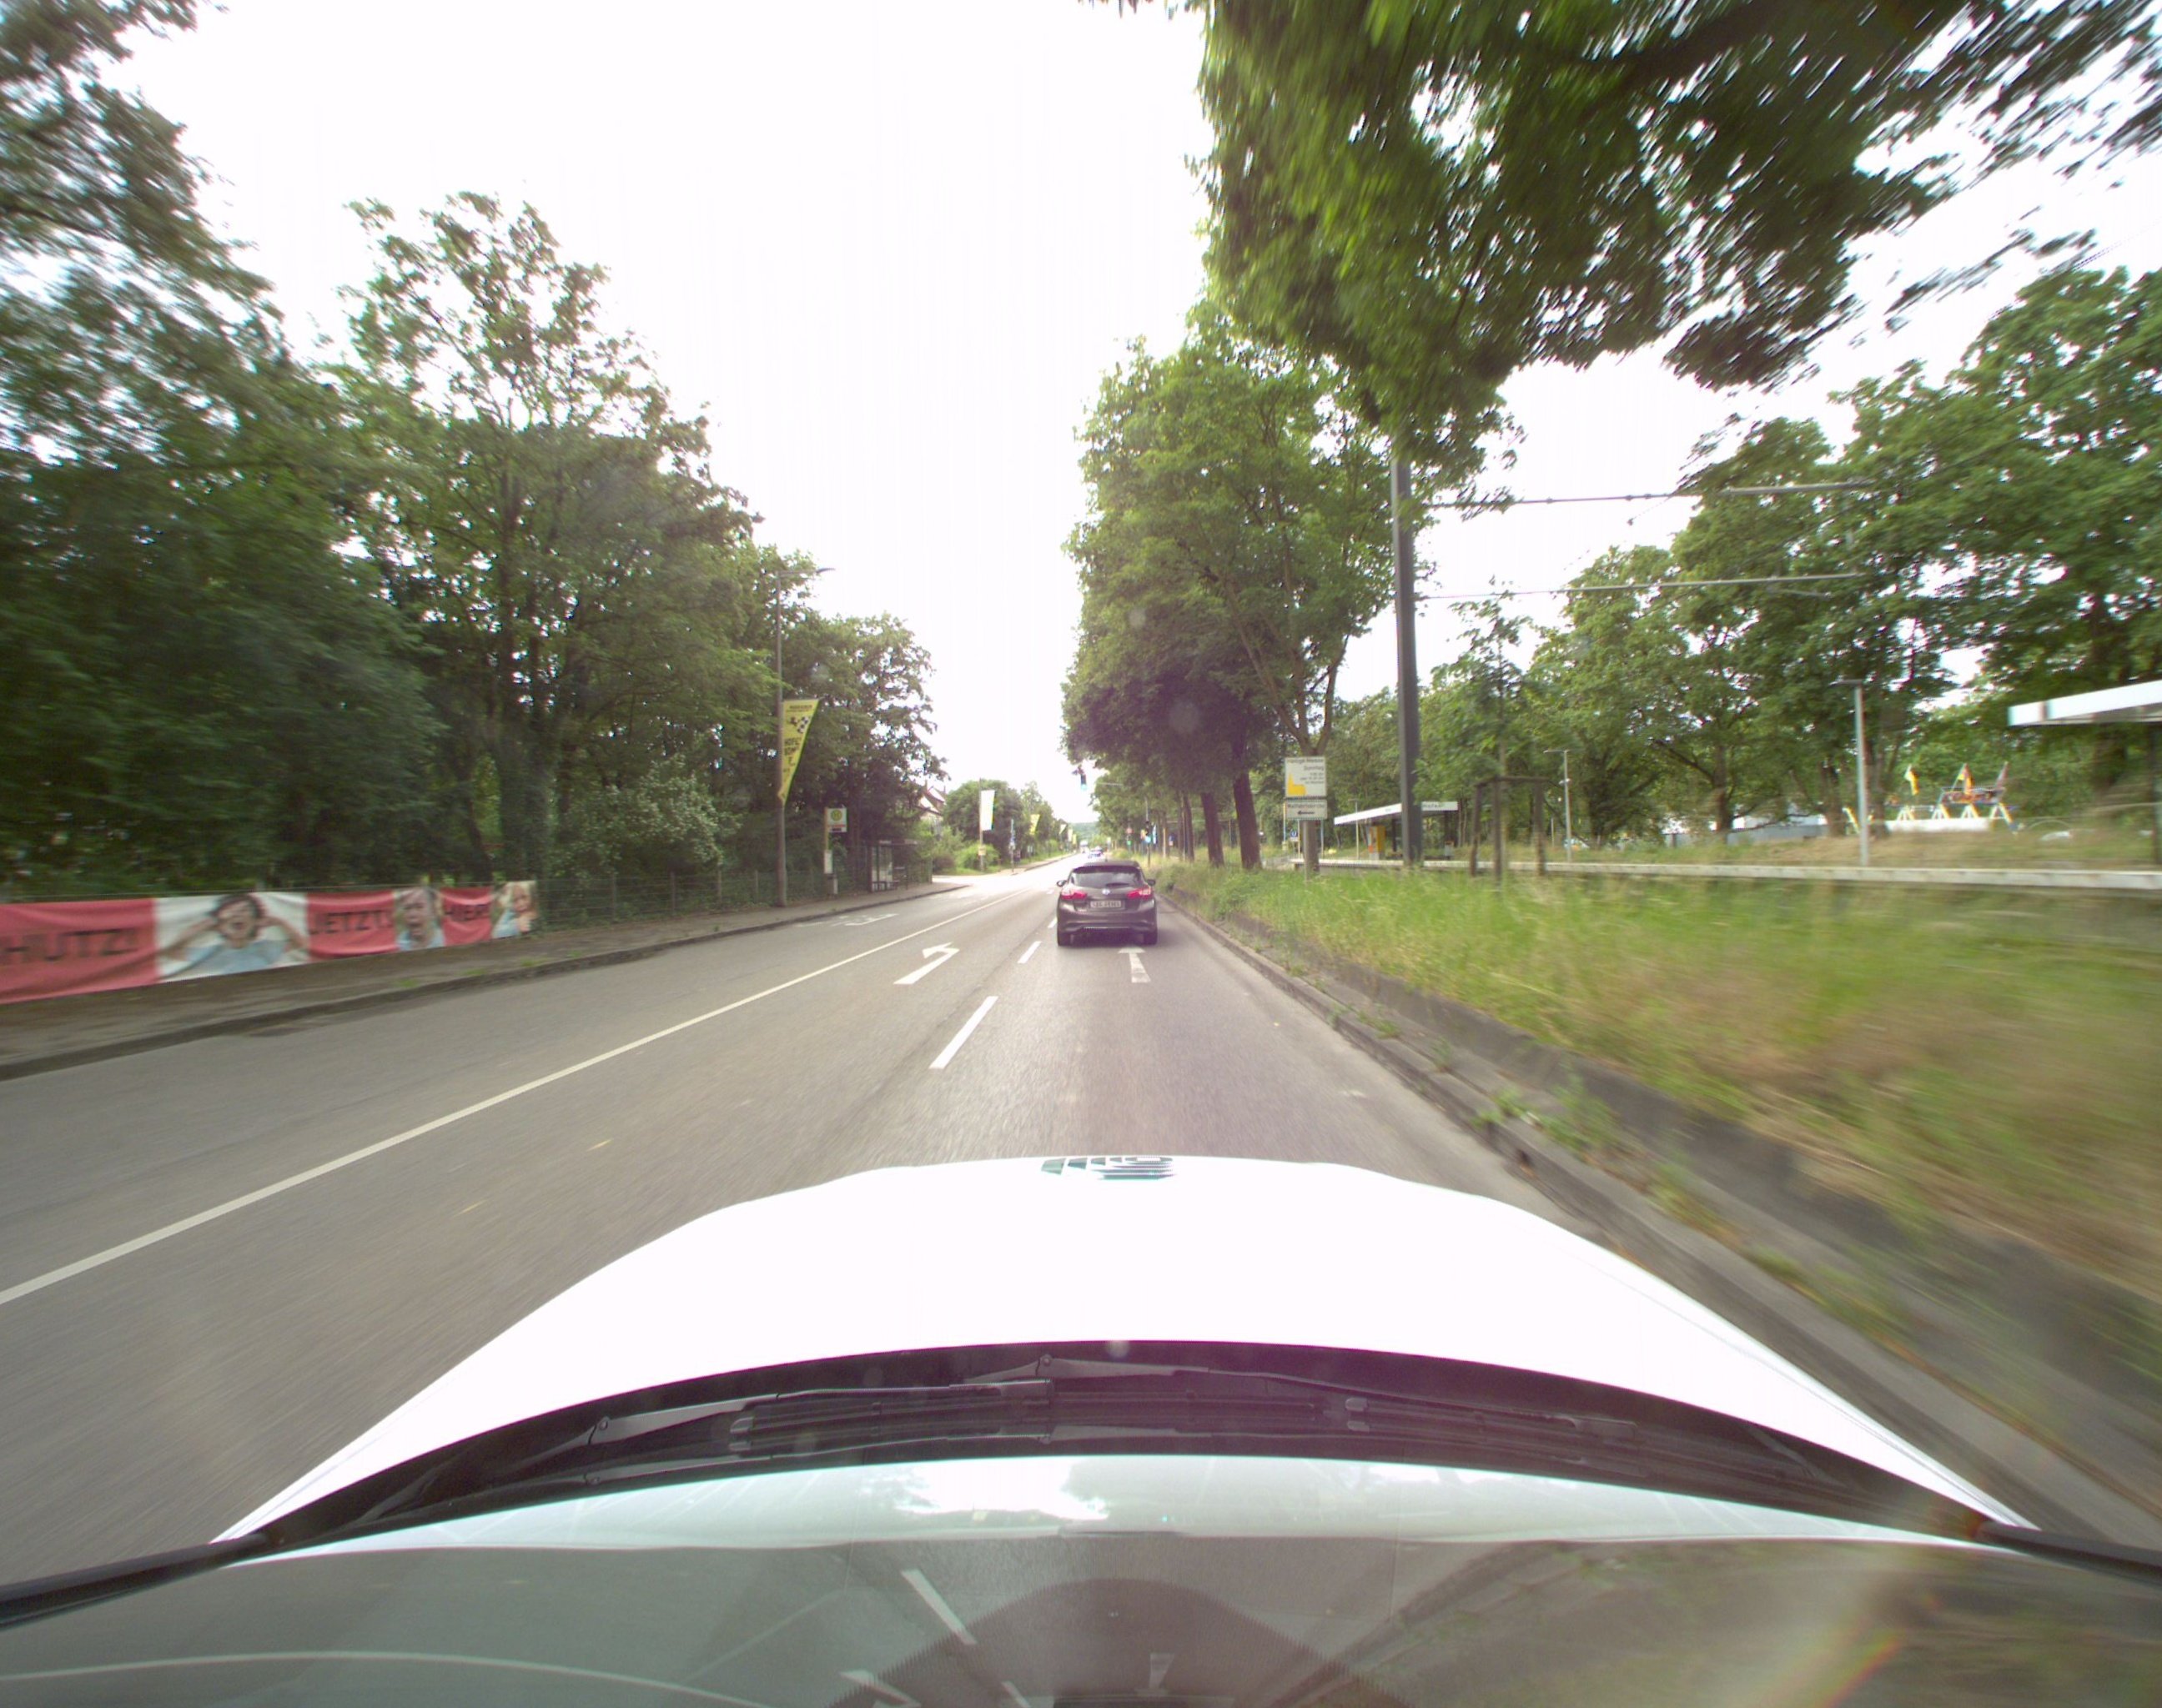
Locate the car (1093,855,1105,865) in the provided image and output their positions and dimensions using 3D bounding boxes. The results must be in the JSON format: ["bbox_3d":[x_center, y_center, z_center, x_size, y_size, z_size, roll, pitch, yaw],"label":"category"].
[{"bbox_3d":[2.653,0.889,121.428,1.685,1.441,3.542,-1,0,1],"label":"car"}]

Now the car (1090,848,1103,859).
[{"bbox_3d":[2.552,-0.063,130.362,1.986,1.574,4.001,1,-1,1],"label":"car"}]

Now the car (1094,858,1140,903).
[{"bbox_3d":[1.215,0.869,28.348,1.496,1.441,3.542,-1,0,1],"label":"car"}]

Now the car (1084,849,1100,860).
[{"bbox_3d":[1.437,0.056,102.371,1.986,1.321,4.001,1,-1,2],"label":"car"}]

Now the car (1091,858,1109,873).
[{"bbox_3d":[1.886,1.115,80.628,1.685,1.441,3.542,-1,0,1],"label":"car"}]

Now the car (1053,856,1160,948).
[{"bbox_3d":[0.488,0.816,15.491,1.777,1.507,3.697,-1,0,2],"label":"car"}]

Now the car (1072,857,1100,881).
[{"bbox_3d":[0.363,0.937,52.426,1.685,1.441,3.542,-1,0,1],"label":"car"}]

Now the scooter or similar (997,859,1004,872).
[{"bbox_3d":[-7.960,1.145,80.492,0.460,1.259,1.427,-1,0,3],"label":"scooter or similar"}]
